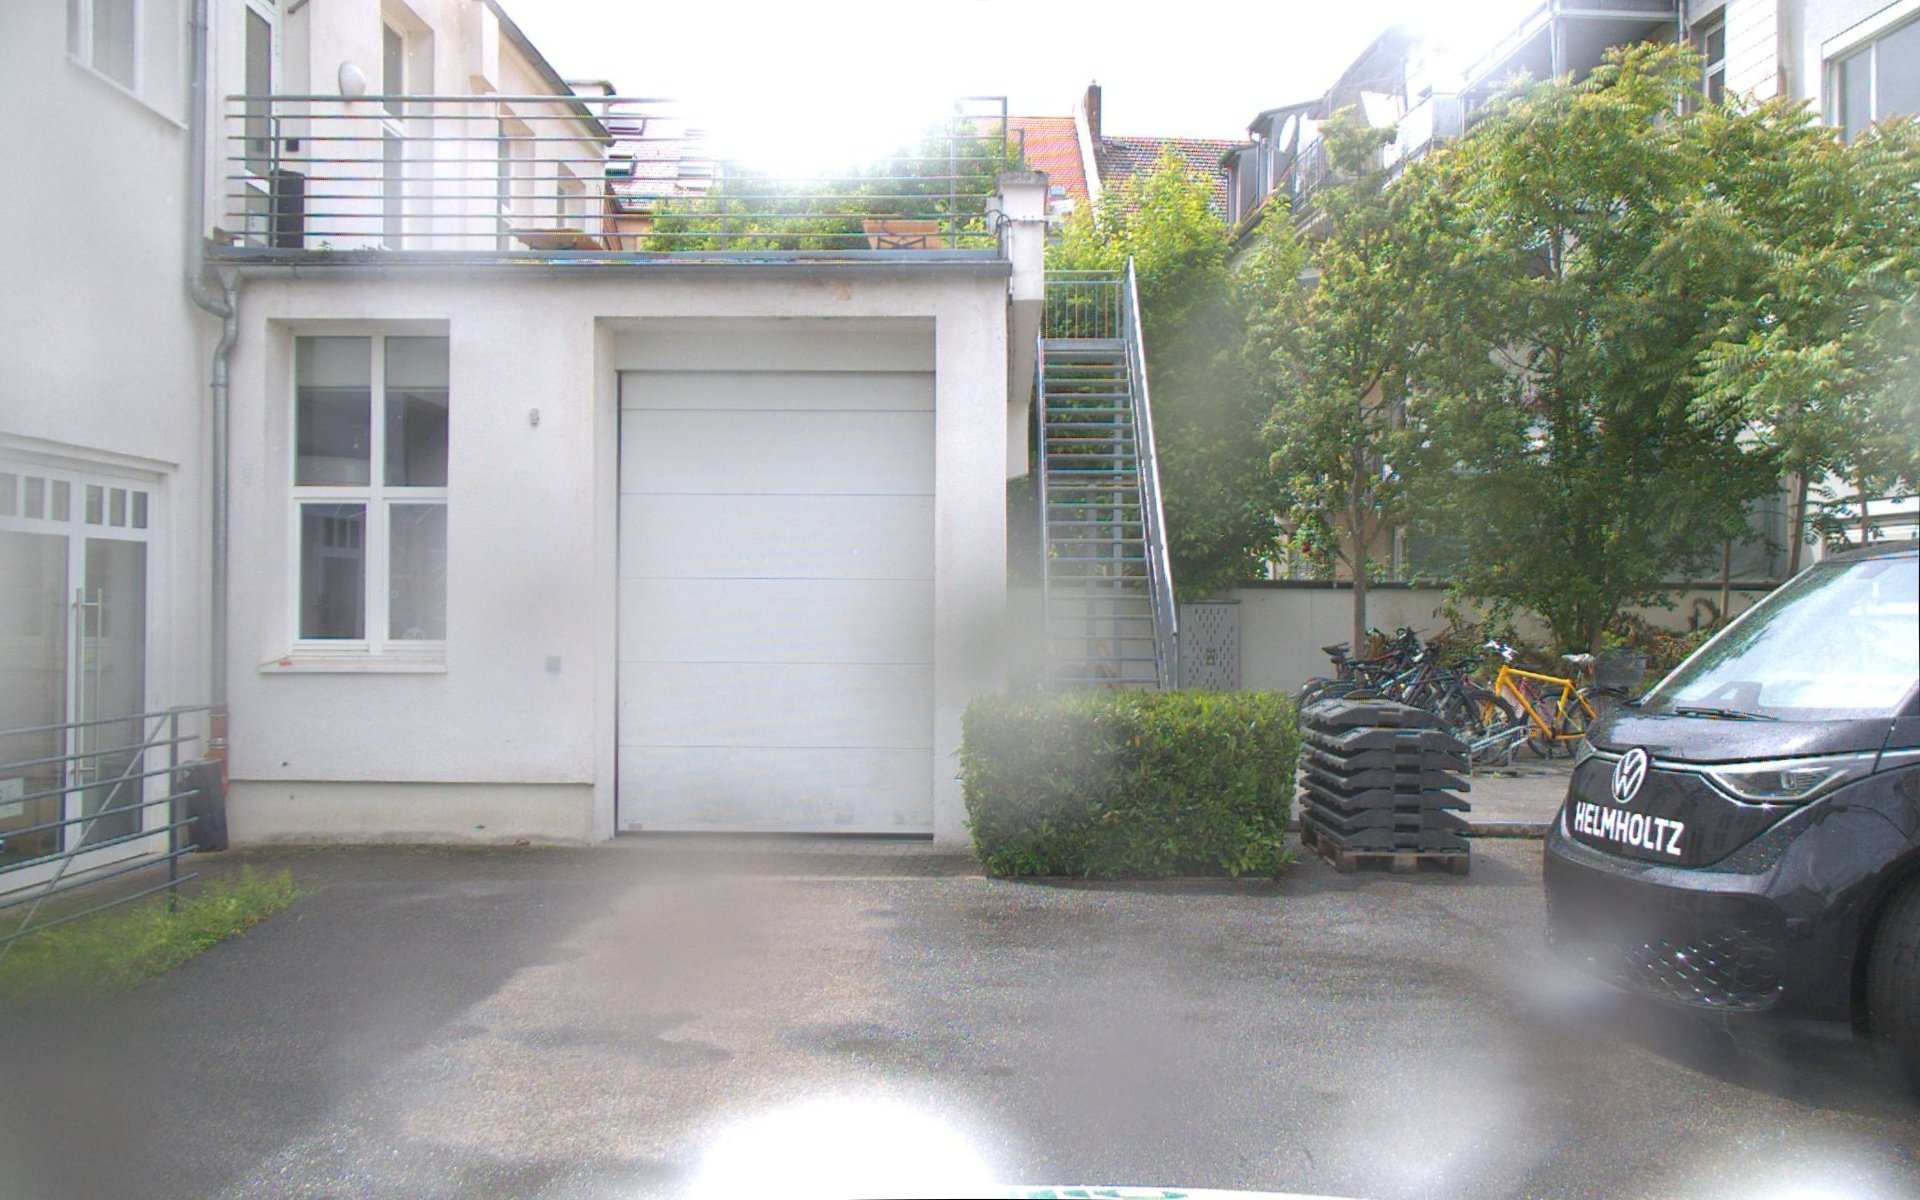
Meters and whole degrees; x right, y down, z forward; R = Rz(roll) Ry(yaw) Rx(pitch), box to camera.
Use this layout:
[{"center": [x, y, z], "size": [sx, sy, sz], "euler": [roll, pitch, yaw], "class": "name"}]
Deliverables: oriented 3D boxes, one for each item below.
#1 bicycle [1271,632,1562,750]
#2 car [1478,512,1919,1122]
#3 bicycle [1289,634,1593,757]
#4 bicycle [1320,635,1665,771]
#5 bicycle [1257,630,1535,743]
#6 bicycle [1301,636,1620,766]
[{"center": [4.673, 0.925, 17.031], "size": [2.786, 1.097, 0.689], "euler": [2, 0, -2], "class": "bicycle"}, {"center": [4.657, 0.635, 6.373], "size": [4.618, 1.865, 2.108], "euler": [-1, 0, -6], "class": "car"}, {"center": [4.720, 0.933, 16.317], "size": [2.786, 1.097, 0.689], "euler": [2, 0, -2], "class": "bicycle"}, {"center": [4.740, 0.910, 14.814], "size": [2.864, 1.097, 0.689], "euler": [2, 0, -2], "class": "bicycle"}, {"center": [4.654, 0.917, 17.738], "size": [2.786, 1.097, 0.689], "euler": [2, 0, -2], "class": "bicycle"}, {"center": [4.688, 0.940, 15.593], "size": [2.786, 1.097, 0.689], "euler": [2, 0, -2], "class": "bicycle"}]
